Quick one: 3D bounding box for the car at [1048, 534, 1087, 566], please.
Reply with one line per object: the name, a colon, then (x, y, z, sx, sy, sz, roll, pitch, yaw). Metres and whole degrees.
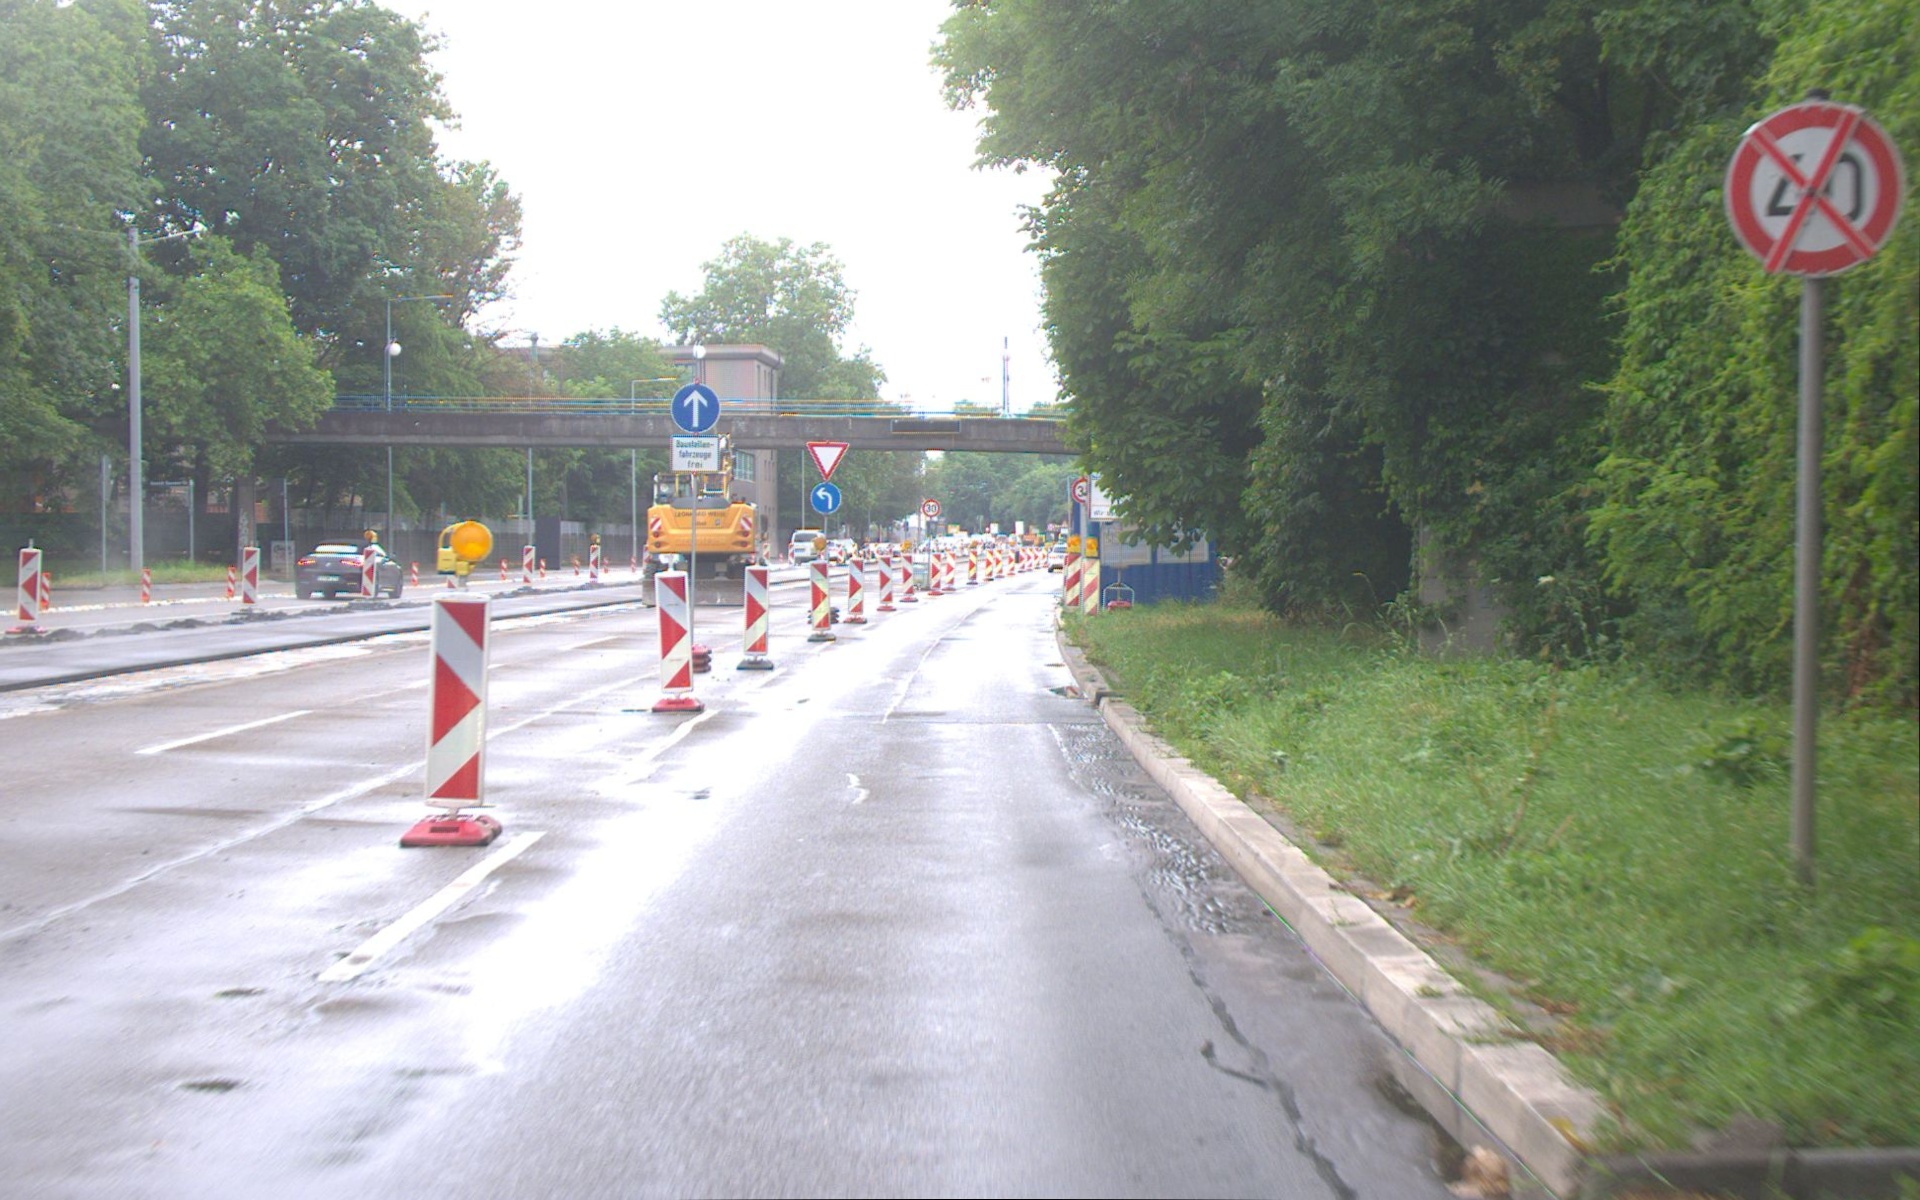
car: (5.620, -2.611, 179.272, 1.994, 1.634, 4.000, 0, 1, 3)

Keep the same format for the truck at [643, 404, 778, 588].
truck: (-6.129, -2.547, 85.765, 2.897, 4.244, 10.757, 1, 1, -2)
